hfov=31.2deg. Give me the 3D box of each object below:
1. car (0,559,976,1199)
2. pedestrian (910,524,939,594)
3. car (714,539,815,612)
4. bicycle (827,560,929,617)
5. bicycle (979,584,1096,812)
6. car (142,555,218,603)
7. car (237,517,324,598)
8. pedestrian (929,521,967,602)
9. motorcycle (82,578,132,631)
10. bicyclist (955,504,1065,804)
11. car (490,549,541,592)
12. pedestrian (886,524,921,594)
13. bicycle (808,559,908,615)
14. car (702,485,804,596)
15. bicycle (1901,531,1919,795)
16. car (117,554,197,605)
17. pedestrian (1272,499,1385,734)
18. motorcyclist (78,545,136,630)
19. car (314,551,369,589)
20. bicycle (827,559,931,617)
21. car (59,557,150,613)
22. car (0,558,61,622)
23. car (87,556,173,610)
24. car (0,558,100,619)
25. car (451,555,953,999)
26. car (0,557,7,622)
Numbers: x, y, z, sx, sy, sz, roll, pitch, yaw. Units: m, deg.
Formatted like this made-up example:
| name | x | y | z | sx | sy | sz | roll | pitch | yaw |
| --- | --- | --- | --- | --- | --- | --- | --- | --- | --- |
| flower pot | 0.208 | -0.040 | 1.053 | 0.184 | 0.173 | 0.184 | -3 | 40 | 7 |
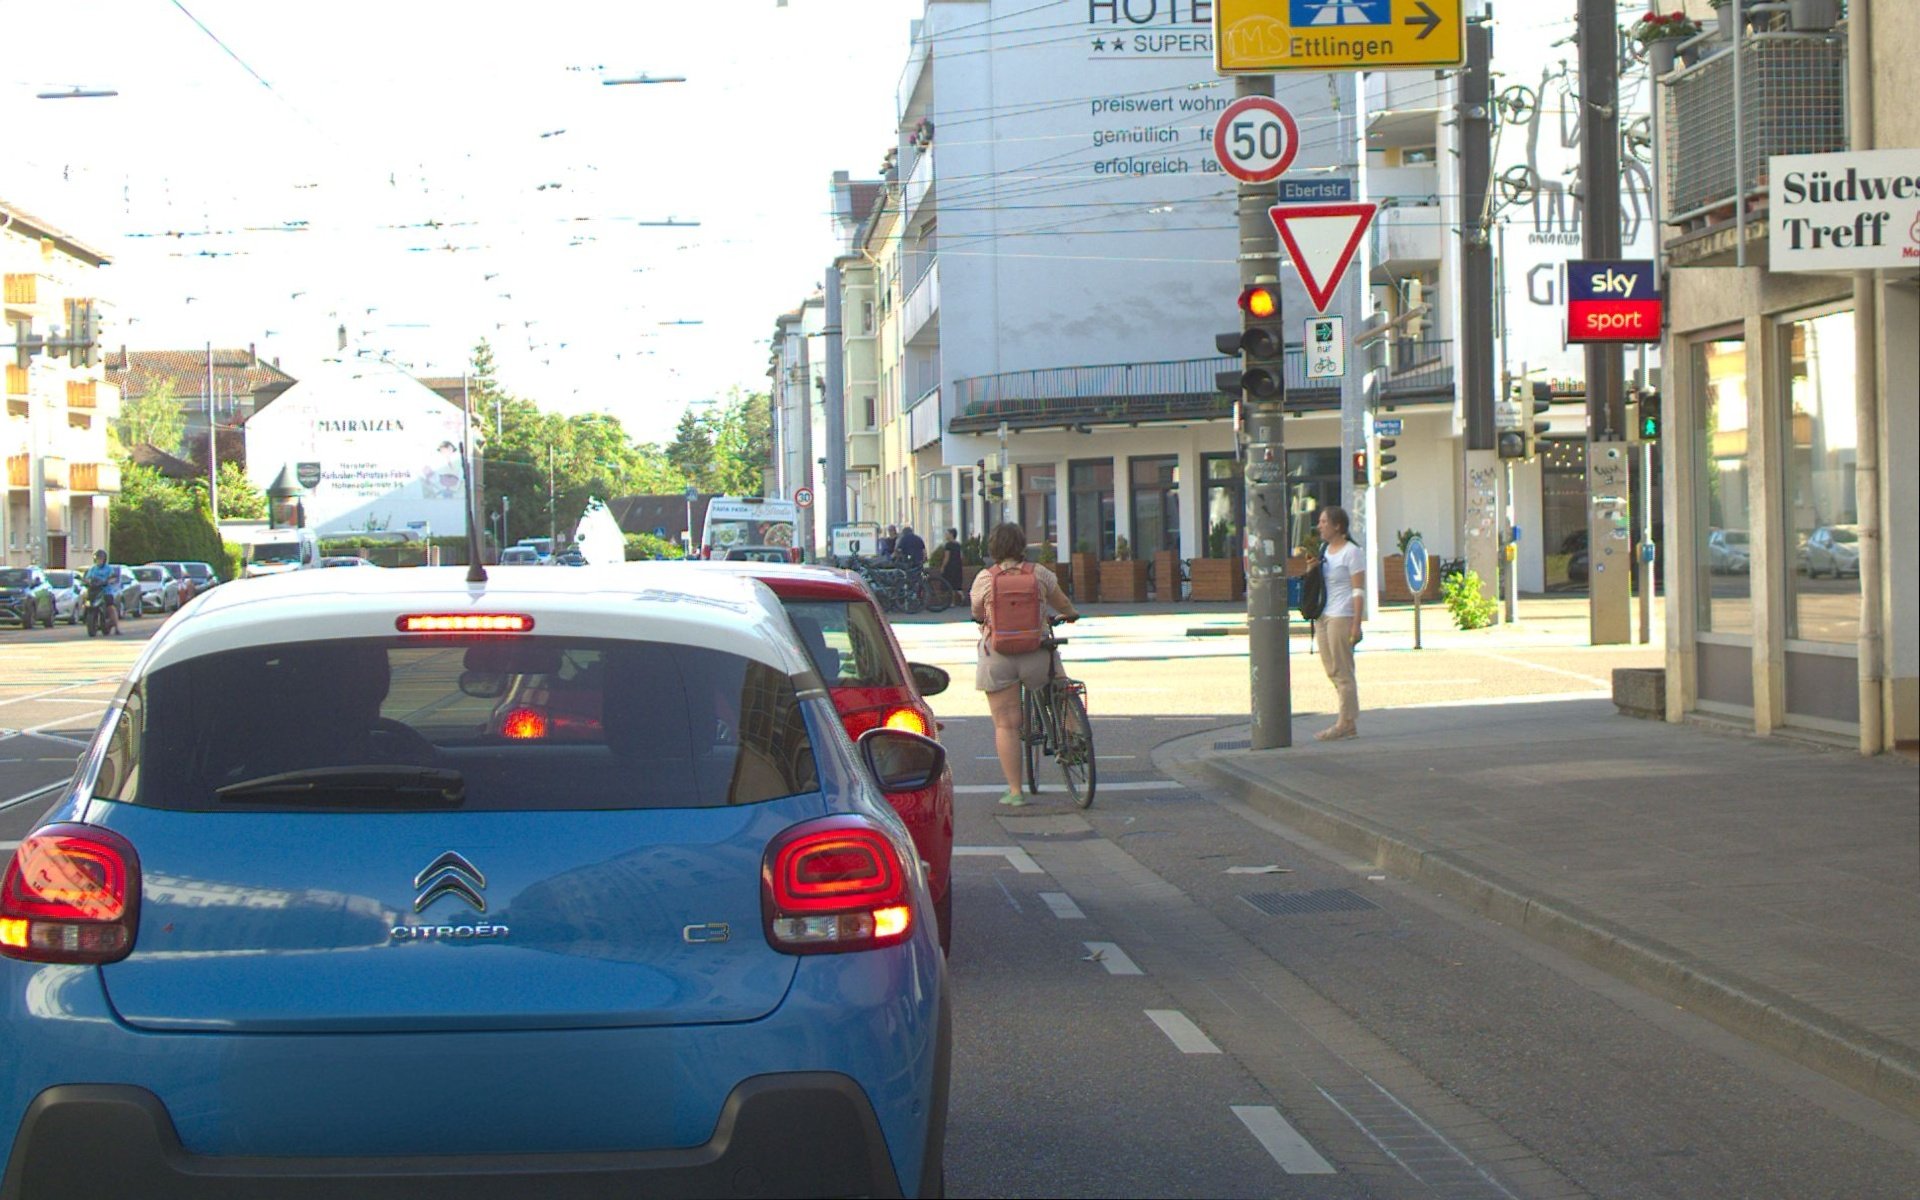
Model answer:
| name | x | y | z | sx | sy | sz | roll | pitch | yaw |
| --- | --- | --- | --- | --- | --- | --- | --- | --- | --- |
| car | -0.957 | 0.666 | 7.377 | 1.680 | 1.457 | 4.001 | 0 | 1 | -4 |
| pedestrian | -0.720 | -0.843 | 70.009 | 0.467 | 1.415 | 0.527 | -1 | 1 | -13 |
| car | -3.882 | -0.511 | 67.807 | 1.786 | 1.354 | 3.915 | -1 | 1 | -6 |
| bicycle | -1.607 | -0.232 | 67.122 | 1.904 | 1.061 | 0.642 | -1 | 1 | -7 |
| bicycle | 0.449 | 0.558 | 20.644 | 0.613 | 1.260 | 1.911 | -1 | 1 | -1 |
| car | -26.070 | -0.712 | 115.000 | 1.950 | 1.514 | 4.001 | -1 | 1 | -6 |
| car | -23.663 | -1.494 | 119.937 | 2.493 | 2.703 | 5.839 | -1 | 1 | -7 |
| pedestrian | -0.242 | -0.795 | 70.563 | 0.553 | 1.642 | 0.538 | -2 | 1 | -28 |
| motorcycle | -16.694 | 0.076 | 67.288 | 0.751 | 0.973 | 2.098 | -1 | 1 | -9 |
| bicyclist | 0.292 | 0.302 | 20.601 | 0.600 | 1.740 | 1.084 | -1 | 1 | -1 |
| car | -22.048 | -1.484 | 170.842 | 2.338 | 2.032 | 5.051 | -1 | 1 | -6 |
| pedestrian | -1.153 | -0.841 | 70.260 | 0.525 | 1.415 | 0.546 | -1 | 1 | 20 |
| bicycle | -2.026 | -0.270 | 68.315 | 1.904 | 1.061 | 0.642 | -1 | 1 | -7 |
| car | -4.432 | -1.272 | 73.243 | 2.079 | 2.262 | 5.652 | 0 | 1 | -4 |
| bicycle | 4.915 | 0.311 | 15.755 | 0.640 | 1.260 | 1.911 | -1 | 1 | -1 |
| car | -25.360 | -0.664 | 108.658 | 1.950 | 1.514 | 4.001 | -1 | 1 | -6 |
| pedestrian | 2.609 | 0.107 | 24.377 | 0.751 | 1.629 | 0.740 | -1 | 1 | 6 |
| motorcyclist | -16.675 | -0.249 | 67.214 | 0.991 | 1.625 | 0.739 | -1 | 1 | -9 |
| car | -25.979 | -1.267 | 144.570 | 1.950 | 1.514 | 4.001 | -1 | 1 | -6 |
| bicycle | -1.558 | -0.238 | 65.816 | 1.904 | 1.061 | 0.642 | -1 | 1 | -7 |
| car | -24.459 | -0.451 | 98.375 | 1.950 | 1.514 | 4.001 | -1 | 1 | -6 |
| car | -23.786 | -0.262 | 85.891 | 1.950 | 1.514 | 4.001 | -1 | 1 | -6 |
| car | -24.927 | -0.534 | 103.379 | 1.950 | 1.514 | 4.001 | -1 | 1 | -6 |
| car | -24.307 | -0.329 | 91.948 | 1.950 | 1.514 | 4.001 | -1 | 1 | -6 |
| car | -1.004 | 0.575 | 13.587 | 1.680 | 1.457 | 4.001 | 0 | 1 | -4 |
| car | -23.321 | -0.189 | 79.226 | 1.950 | 1.514 | 4.001 | -1 | 1 | -6 |
